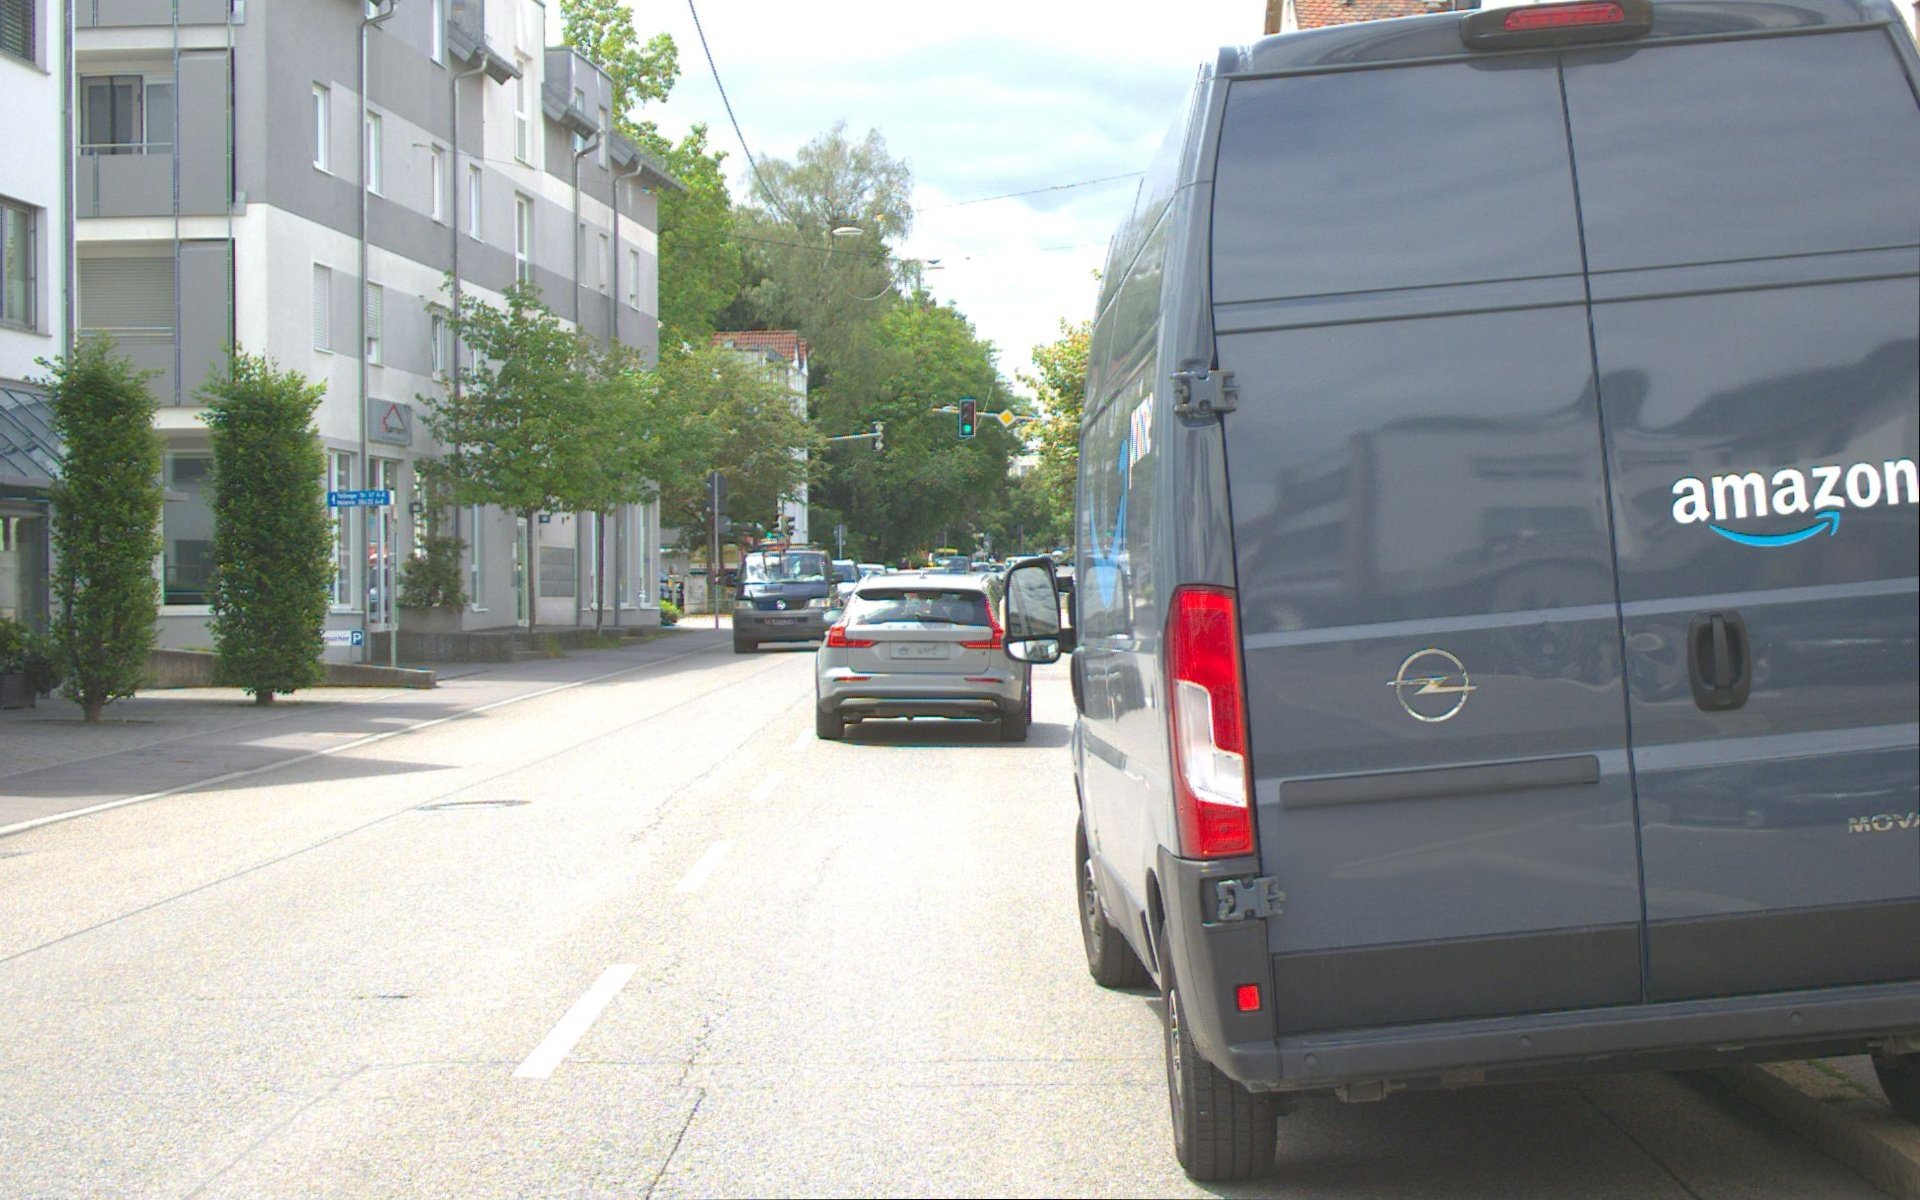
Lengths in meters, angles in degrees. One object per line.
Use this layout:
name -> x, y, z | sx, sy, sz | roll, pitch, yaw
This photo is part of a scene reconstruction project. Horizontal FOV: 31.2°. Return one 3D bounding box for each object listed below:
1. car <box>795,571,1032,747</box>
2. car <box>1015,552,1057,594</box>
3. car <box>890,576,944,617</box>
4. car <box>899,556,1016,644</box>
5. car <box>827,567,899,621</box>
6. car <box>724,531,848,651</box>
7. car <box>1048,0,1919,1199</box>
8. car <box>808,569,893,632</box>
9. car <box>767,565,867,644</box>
car -> -0.355, 0.487, 31.303 | 1.896, 1.448, 3.968 | 1, 1, 3
car -> 3.670, -1.294, 165.635 | 1.993, 2.007, 4.000 | 0, 0, 2
car -> -1.735, -0.168, 138.430 | 2.105, 1.590, 4.650 | -1, 0, -1
car -> -0.005, -0.025, 59.734 | 1.896, 1.441, 3.968 | 1, 1, 2
car -> -2.940, -0.201, 104.655 | 2.105, 1.590, 4.650 | -1, 0, -1
car -> -3.273, -0.193, 65.580 | 2.105, 2.114, 4.766 | -3, 0, -1
car -> 1.469, 0.036, 10.110 | 2.252, 2.786, 5.569 | -1, 0, 0
car -> -2.838, -0.004, 89.720 | 2.105, 1.590, 4.650 | -1, 0, -1
car -> -3.184, 0.084, 77.585 | 2.105, 1.704, 4.766 | -1, 0, -1
